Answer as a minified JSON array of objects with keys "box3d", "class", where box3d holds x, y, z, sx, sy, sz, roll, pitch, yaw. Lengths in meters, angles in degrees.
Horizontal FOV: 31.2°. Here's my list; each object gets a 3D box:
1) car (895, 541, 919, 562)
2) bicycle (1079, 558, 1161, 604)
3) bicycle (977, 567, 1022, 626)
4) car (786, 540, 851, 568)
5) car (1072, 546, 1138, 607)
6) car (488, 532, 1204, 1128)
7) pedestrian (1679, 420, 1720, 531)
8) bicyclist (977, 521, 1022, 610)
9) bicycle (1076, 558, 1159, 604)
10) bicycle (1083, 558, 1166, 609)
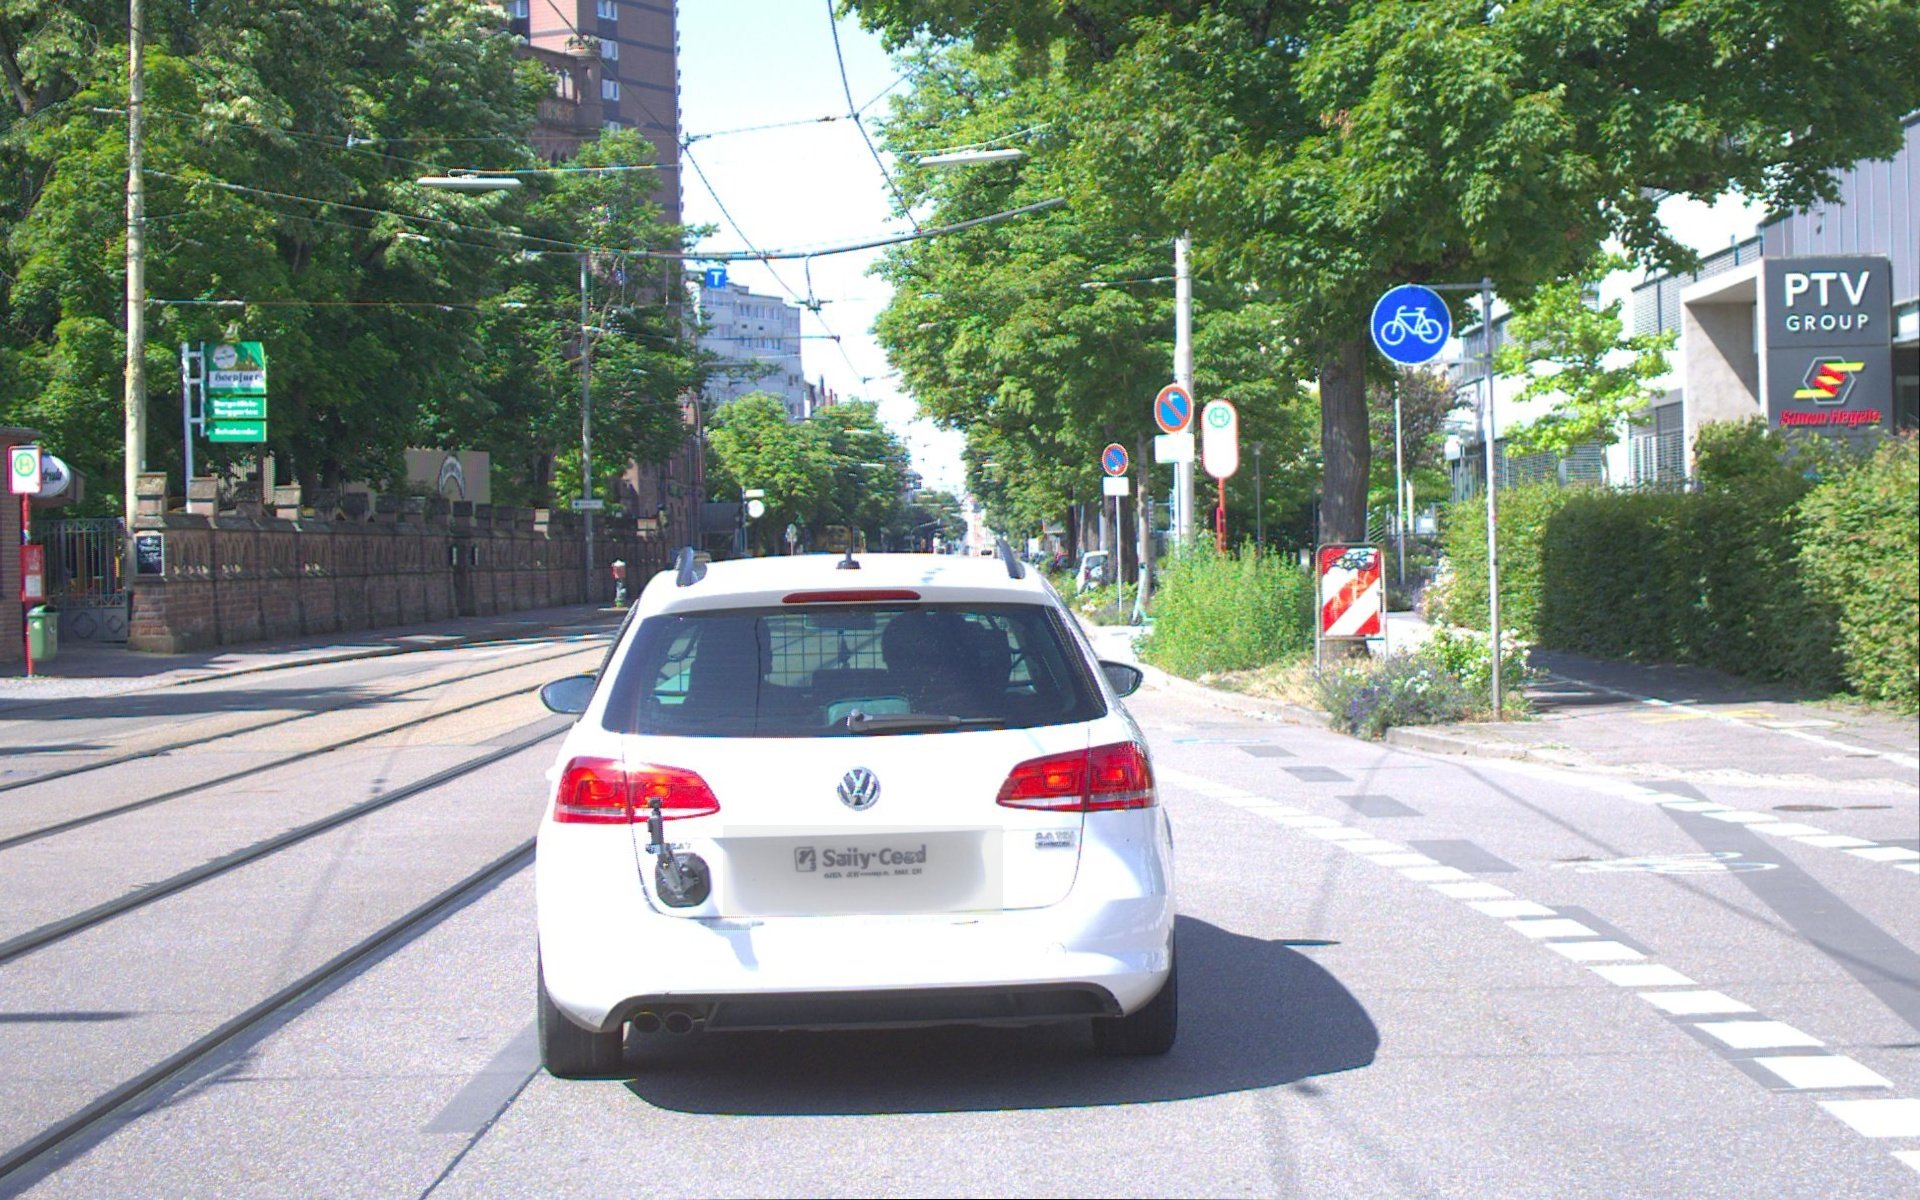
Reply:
[{"box3d":[-3.779,-3.452,245.153,1.493,1.380,3.642,-2,1,2],"class":"car"},{"box3d":[3.796,-0.442,81.590,1.911,1.079,0.551,0,1,-1],"class":"bicycle"},{"box3d":[0.750,-0.068,64.813,0.811,1.074,2.012,-1,1,2],"class":"bicycle"},{"box3d":[-9.877,-3.222,239.902,3.987,1.809,2.000,-2,1,-34],"class":"car"},{"box3d":[3.672,-0.614,87.500,1.590,1.446,3.946,-2,1,2],"class":"car"},{"box3d":[-0.297,0.528,10.734,1.753,1.437,4.413,-1,1,0],"class":"car"},{"box3d":[11.625,-1.946,54.037,0.498,1.722,0.547,-1,0,0],"class":"pedestrian"},{"box3d":[0.754,-0.645,64.972,0.786,1.624,0.738,-2,-2,1],"class":"bicyclist"},{"box3d":[3.763,-0.456,82.190,1.911,1.079,0.551,1,1,-1],"class":"bicycle"},{"box3d":[3.669,-0.374,76.596,1.774,1.079,0.596,-2,1,-1],"class":"bicycle"}]
